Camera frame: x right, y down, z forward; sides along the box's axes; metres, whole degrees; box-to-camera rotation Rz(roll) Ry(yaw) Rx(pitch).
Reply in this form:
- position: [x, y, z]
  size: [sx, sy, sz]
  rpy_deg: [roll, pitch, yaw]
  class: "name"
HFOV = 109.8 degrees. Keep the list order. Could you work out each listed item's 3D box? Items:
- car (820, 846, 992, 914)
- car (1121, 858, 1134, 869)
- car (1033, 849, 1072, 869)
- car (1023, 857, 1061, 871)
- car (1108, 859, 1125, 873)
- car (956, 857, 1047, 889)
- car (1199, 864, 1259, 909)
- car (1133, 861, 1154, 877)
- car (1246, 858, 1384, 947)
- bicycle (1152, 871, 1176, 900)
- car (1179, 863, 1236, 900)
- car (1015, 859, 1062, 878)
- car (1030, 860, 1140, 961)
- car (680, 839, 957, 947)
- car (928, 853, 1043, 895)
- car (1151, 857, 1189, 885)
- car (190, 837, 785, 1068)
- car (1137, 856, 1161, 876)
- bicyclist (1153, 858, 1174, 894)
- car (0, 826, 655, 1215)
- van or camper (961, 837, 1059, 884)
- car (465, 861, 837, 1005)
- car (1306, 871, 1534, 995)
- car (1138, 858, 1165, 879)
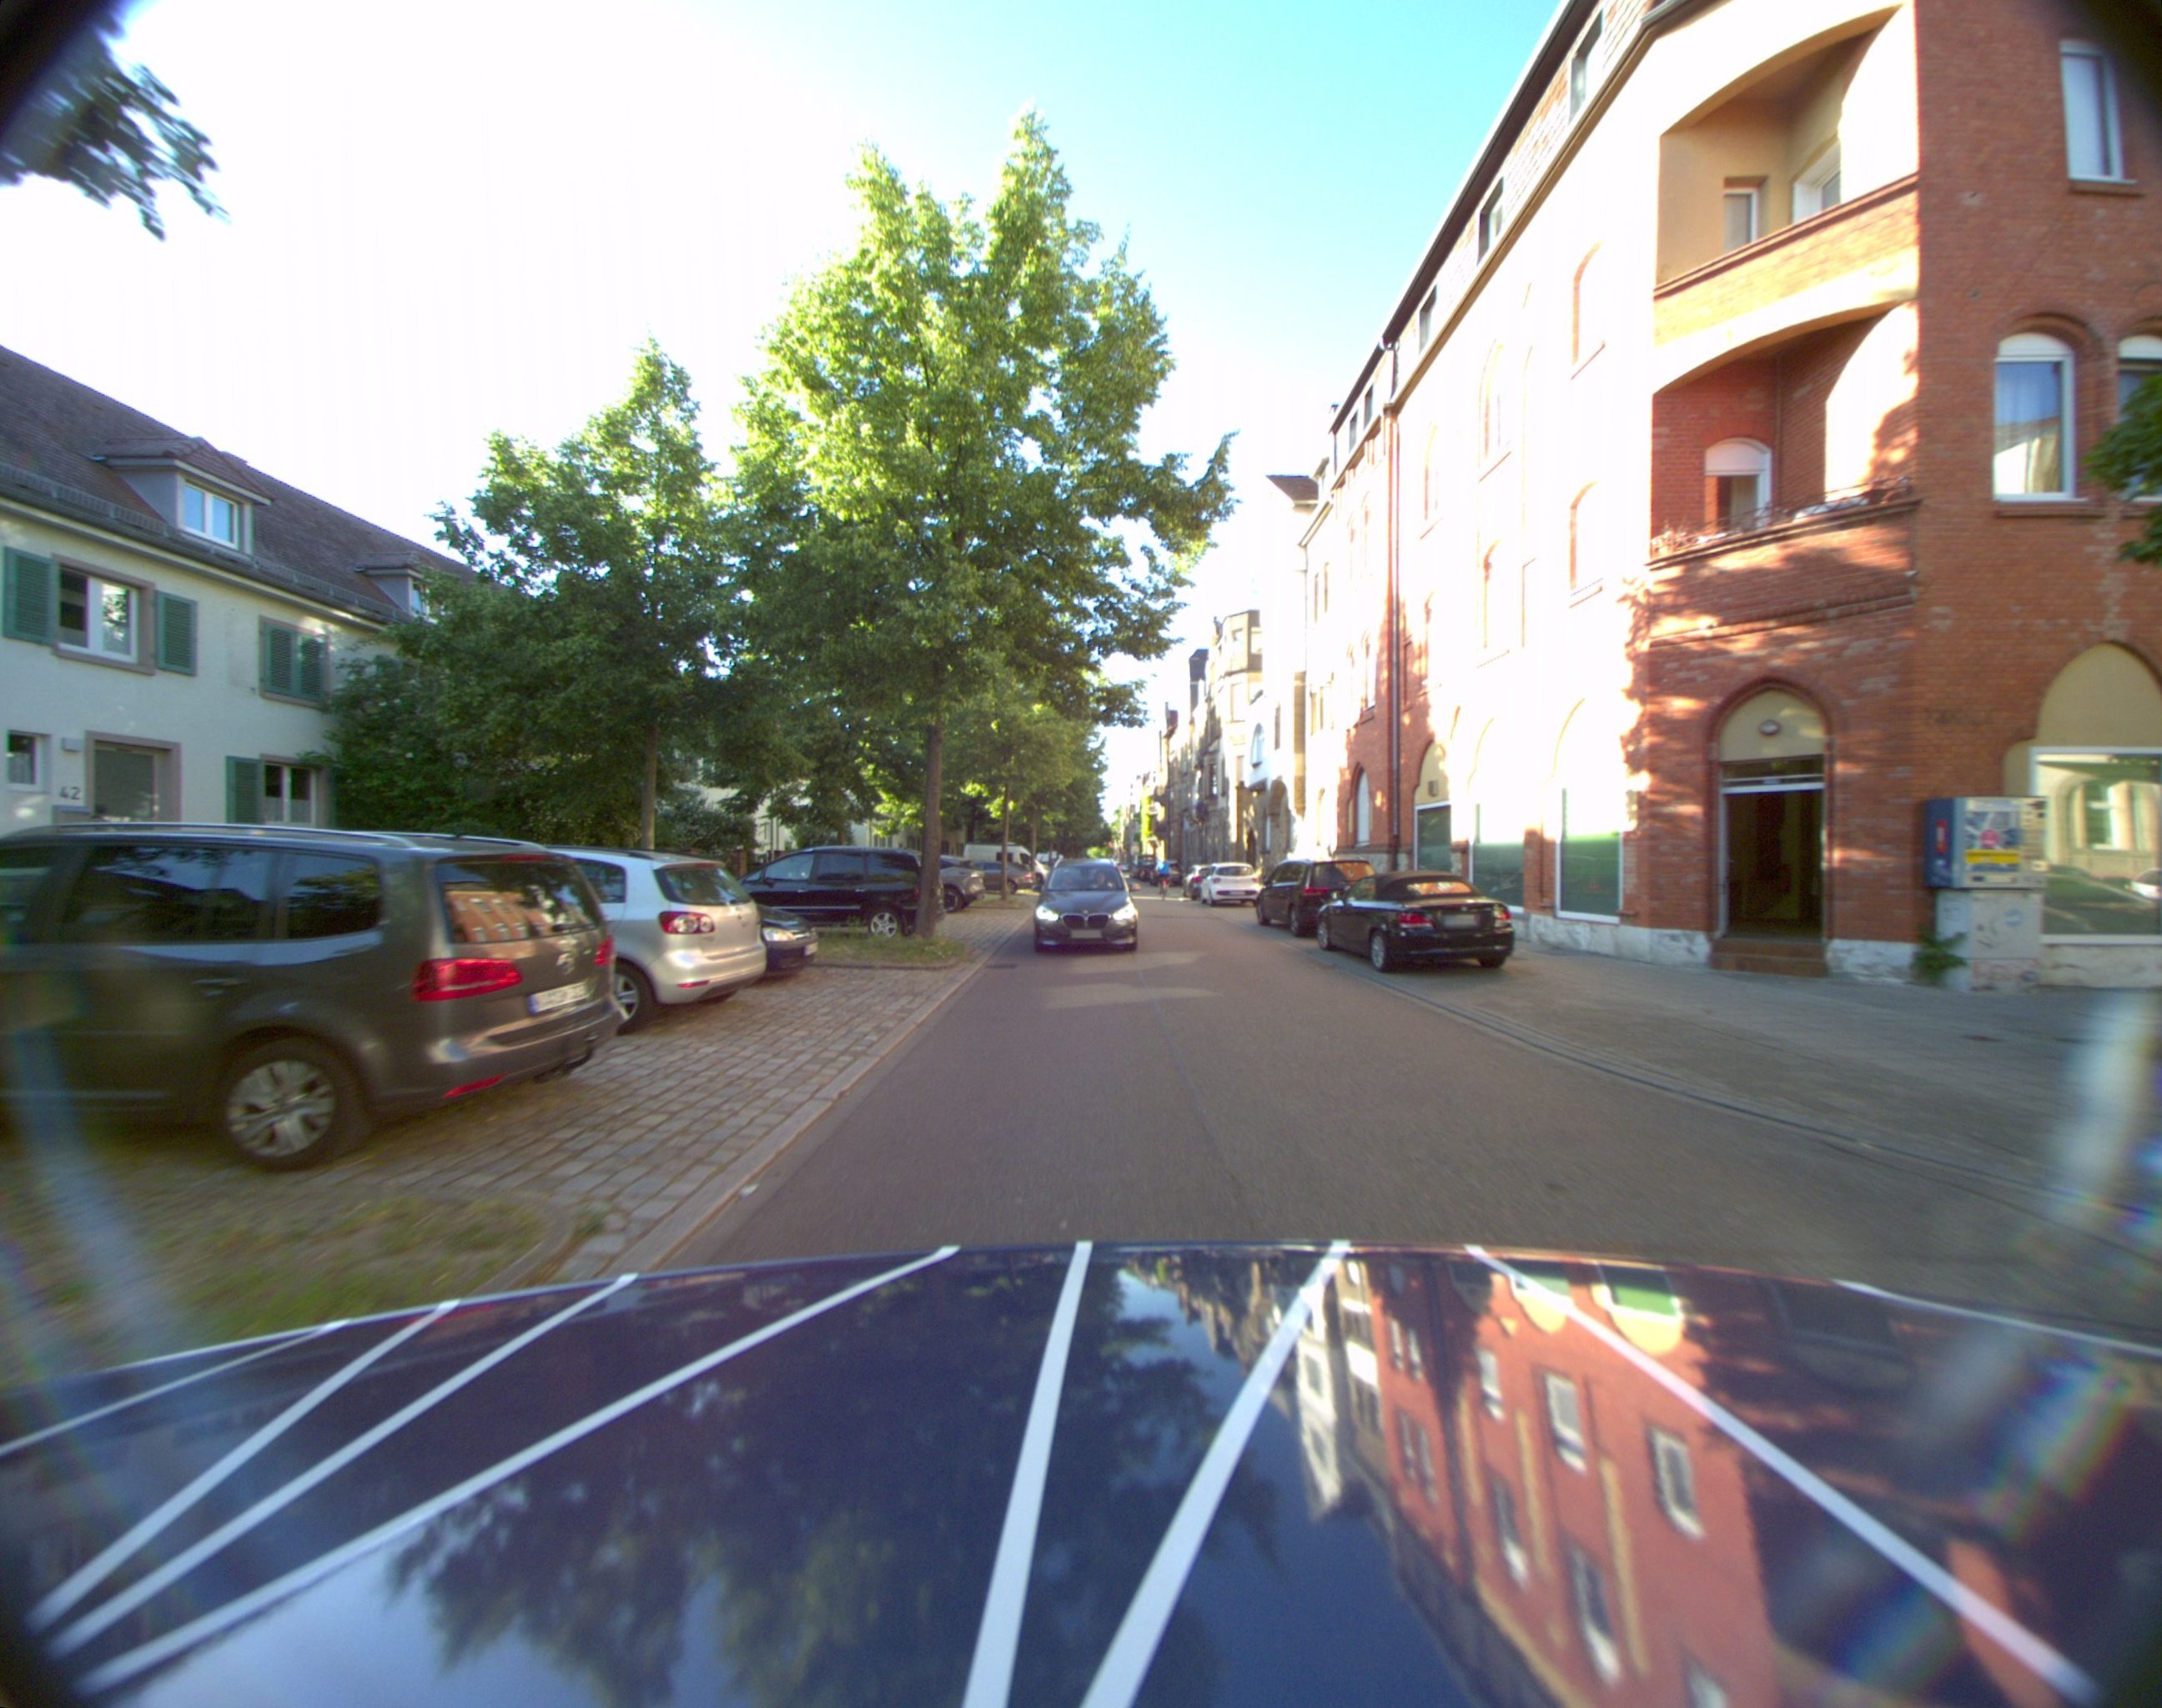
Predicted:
- position: [-4.979, 0.725, 22.081]
  size: [4.487, 1.624, 1.875]
  rpy_deg: [3, 0, 0]
  class: "car"
- position: [6.816, 1.445, 112.237]
  size: [1.686, 1.496, 3.629]
  rpy_deg: [-3, -2, 2]
  class: "car"
- position: [-4.019, 0.694, 108.096]
  size: [5.448, 2.646, 2.134]
  rpy_deg: [1, 0, 1]
  class: "car"
- position: [-4.151, 1.077, 81.656]
  size: [3.998, 1.503, 1.572]
  rpy_deg: [1, 0, -3]
  class: "car"
- position: [4.019, 1.344, 86.019]
  size: [1.631, 1.469, 3.759]
  rpy_deg: [2, 0, -1]
  class: "car"
- position: [-4.139, 0.977, 39.851]
  size: [4.487, 1.427, 1.828]
  rpy_deg: [3, 0, 1]
  class: "car"
- position: [5.168, 1.089, 26.970]
  size: [1.570, 1.461, 3.592]
  rpy_deg: [-1, 0, 3]
  class: "car"
- position: [5.884, 1.449, 71.926]
  size: [1.633, 1.439, 3.856]
  rpy_deg: [-3, -2, 2]
  class: "car"
- position: [5.052, 0.963, 17.046]
  size: [1.673, 1.671, 4.349]
  rpy_deg: [-1, 0, -1]
  class: "car"
- position: [3.391, 1.277, 31.236]
  size: [0.759, 1.101, 1.907]
  rpy_deg: [1, 1, 1]
  class: "bicycle"
- position: [5.284, 1.114, 32.238]
  size: [1.681, 1.434, 4.111]
  rpy_deg: [-1, -1, 0]
  class: "car"
- position: [-3.729, 1.253, 67.061]
  size: [3.997, 1.543, 1.555]
  rpy_deg: [1, 0, 1]
  class: "car"
- position: [0.113, 0.954, 14.699]
  size: [1.753, 1.596, 4.551]
  rpy_deg: [-2, -1, 1]
  class: "car"
- position: [-4.906, 0.706, 14.651]
  size: [4.592, 1.667, 1.907]
  rpy_deg: [3, 0, 3]
  class: "car"
- position: [-4.221, 0.877, 34.014]
  size: [4.850, 1.530, 1.894]
  rpy_deg: [3, 0, -1]
  class: "car"
- position: [5.573, 1.038, 48.078]
  size: [1.881, 1.707, 4.340]
  rpy_deg: [-1, 0, 1]
  class: "car"
- position: [-5.285, 0.798, 7.114]
  size: [4.282, 1.624, 1.691]
  rpy_deg: [3, 0, 4]
  class: "car"
- position: [5.927, 1.022, 66.852]
  size: [1.774, 1.658, 4.212]
  rpy_deg: [-1, 0, 0]
  class: "car"
- position: [3.395, 0.903, 31.318]
  size: [0.761, 1.445, 0.948]
  rpy_deg: [1, 1, 0]
  class: "bicyclist"
- position: [-5.226, 0.733, 4.229]
  size: [4.552, 1.624, 1.811]
  rpy_deg: [3, 0, -5]
  class: "car"
- position: [-4.368, 0.393, 47.471]
  size: [5.733, 2.502, 2.162]
  rpy_deg: [3, 0, 0]
  class: "van or camper"
- position: [-5.247, 0.923, 9.612]
  size: [3.731, 1.445, 1.589]
  rpy_deg: [3, 0, 0]
  class: "car"
- position: [4.943, 1.056, 11.809]
  size: [1.640, 1.402, 4.333]
  rpy_deg: [-2, 0, 1]
  class: "car"
- position: [5.547, 1.091, 60.149]
  size: [1.774, 1.493, 4.211]
  rpy_deg: [0, 1, 0]
  class: "car"
